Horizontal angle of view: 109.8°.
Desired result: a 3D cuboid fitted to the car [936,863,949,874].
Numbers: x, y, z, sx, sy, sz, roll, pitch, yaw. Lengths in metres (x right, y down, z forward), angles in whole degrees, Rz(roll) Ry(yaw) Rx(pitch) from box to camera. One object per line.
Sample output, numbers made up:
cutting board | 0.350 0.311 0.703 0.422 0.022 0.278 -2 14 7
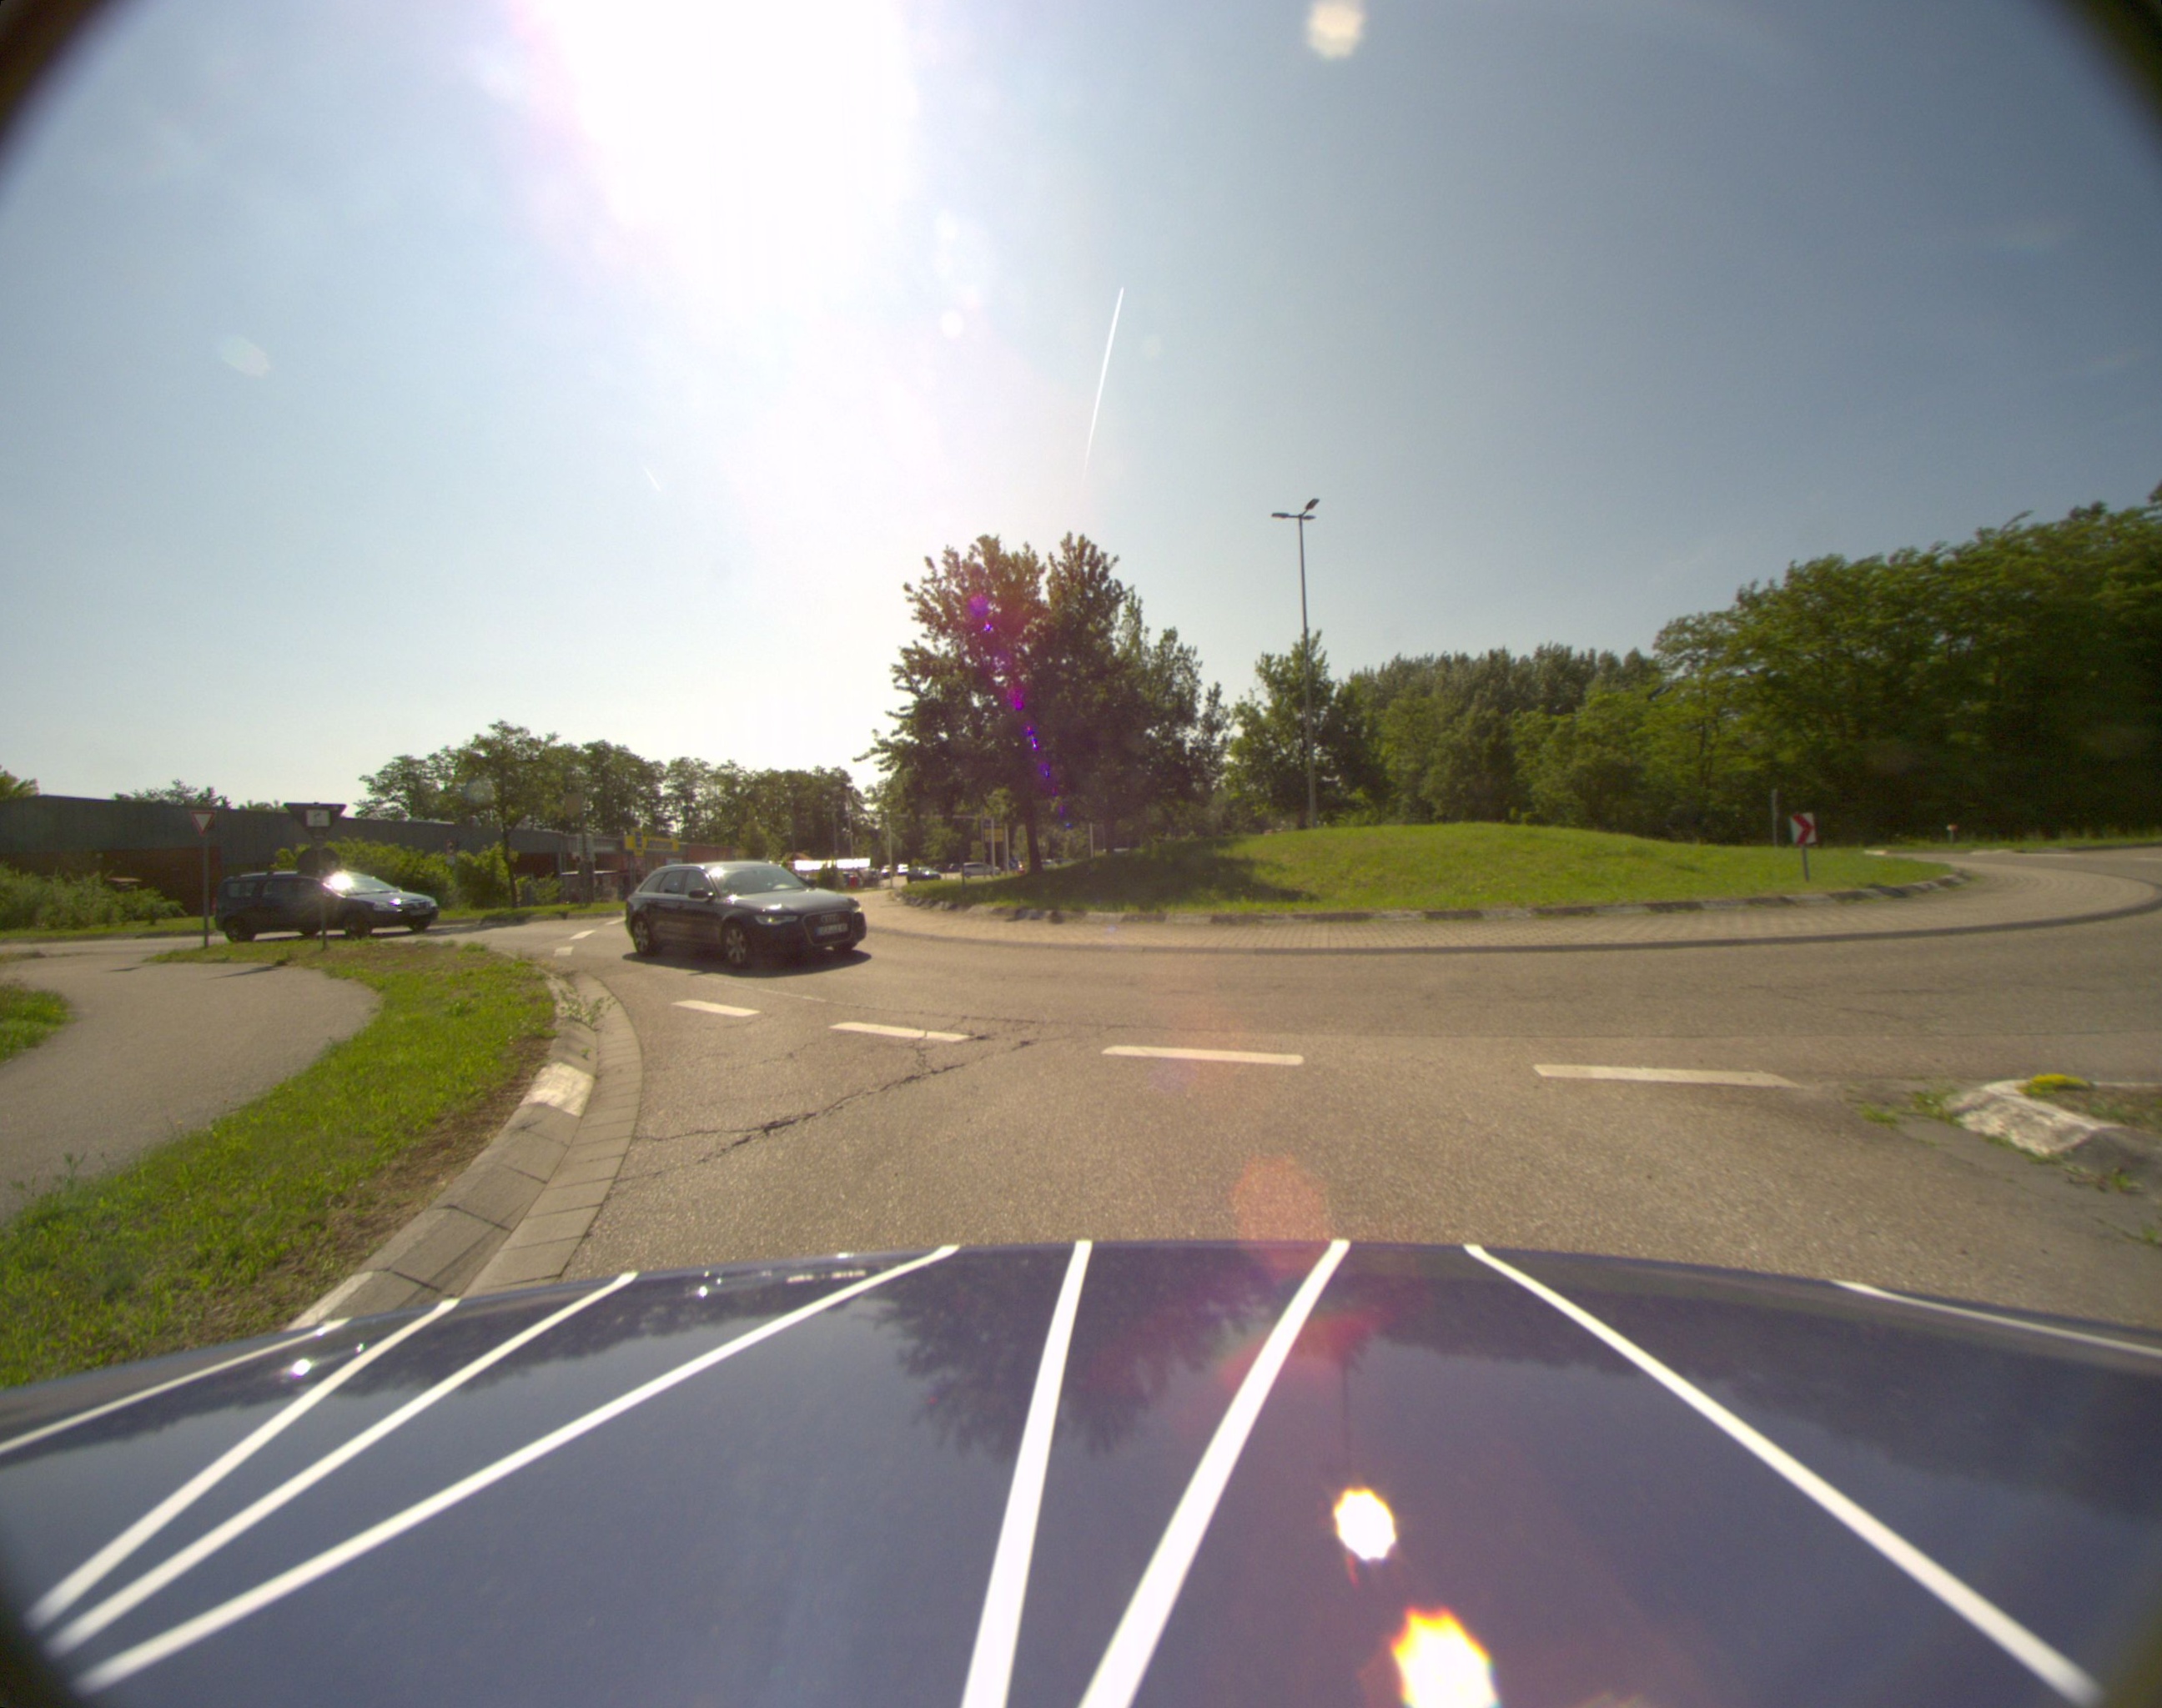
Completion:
car | -22.887 2.353 125.767 2.071 1.701 3.996 -2 0 -10

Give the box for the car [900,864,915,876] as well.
car | -28.323 2.593 124.061 2.071 1.701 3.996 -2 0 -10

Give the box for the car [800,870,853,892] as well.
car | -19.607 2.068 58.686 3.491 1.449 1.716 -3 -1 -4

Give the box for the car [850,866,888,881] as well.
car | -25.258 2.313 90.734 3.999 1.652 1.999 -3 -1 -5

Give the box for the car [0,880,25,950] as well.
car | -30.400 1.682 18.930 5.198 1.805 2.000 -3 0 -1

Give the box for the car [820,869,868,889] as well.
car | -19.842 2.084 63.719 3.491 1.489 1.716 -3 -1 -4

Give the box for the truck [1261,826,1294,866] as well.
truck | 20.399 -0.824 78.669 2.716 3.891 5.959 -2 0 19

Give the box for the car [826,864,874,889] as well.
car | -20.051 1.923 66.080 3.491 1.917 1.878 -3 -1 -4

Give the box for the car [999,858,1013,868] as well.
car | -12.663 1.518 127.947 2.071 1.477 3.996 -2 0 -10

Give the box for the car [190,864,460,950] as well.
car | -18.235 1.240 18.489 4.651 1.632 1.815 -3 3 1

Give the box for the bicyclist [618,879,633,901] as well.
bicyclist | -32.474 2.580 54.164 0.677 1.506 0.608 -3 0 7

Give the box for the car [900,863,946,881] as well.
car | -15.237 1.761 73.465 3.992 1.579 1.664 -3 0 19

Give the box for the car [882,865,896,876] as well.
car | -31.230 2.649 123.684 1.796 1.586 4.257 -2 0 -11

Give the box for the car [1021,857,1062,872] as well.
car | -4.153 1.116 80.343 3.992 1.433 1.653 -3 0 16

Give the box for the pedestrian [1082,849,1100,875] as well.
pedestrian | 0.682 0.562 52.432 0.844 1.775 0.878 -3 0 -39

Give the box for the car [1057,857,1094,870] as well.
car | -0.641 1.127 90.278 3.994 1.419 1.750 -3 0 9

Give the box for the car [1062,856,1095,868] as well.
car | -0.333 1.035 98.478 3.970 1.444 1.905 -3 0 6

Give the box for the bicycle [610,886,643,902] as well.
bicycle | -32.388 2.818 54.189 2.073 1.035 0.554 -3 0 7

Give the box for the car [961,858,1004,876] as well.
car | -11.082 1.478 85.597 4.560 1.692 1.998 -5 0 -11

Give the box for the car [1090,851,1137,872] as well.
car | 2.706 0.619 63.433 3.599 1.552 1.816 -2 0 13

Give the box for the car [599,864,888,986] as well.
car | -5.423 0.961 11.923 4.898 1.426 1.927 -1 3 37

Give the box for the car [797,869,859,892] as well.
car | -20.266 2.105 61.039 4.427 1.562 1.715 -3 -1 -7

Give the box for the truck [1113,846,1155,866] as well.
truck | 7.558 0.230 107.918 5.606 2.590 2.205 -2 0 15

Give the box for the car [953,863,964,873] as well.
car | -20.239 2.278 125.515 1.663 1.477 4.369 -2 0 -10
